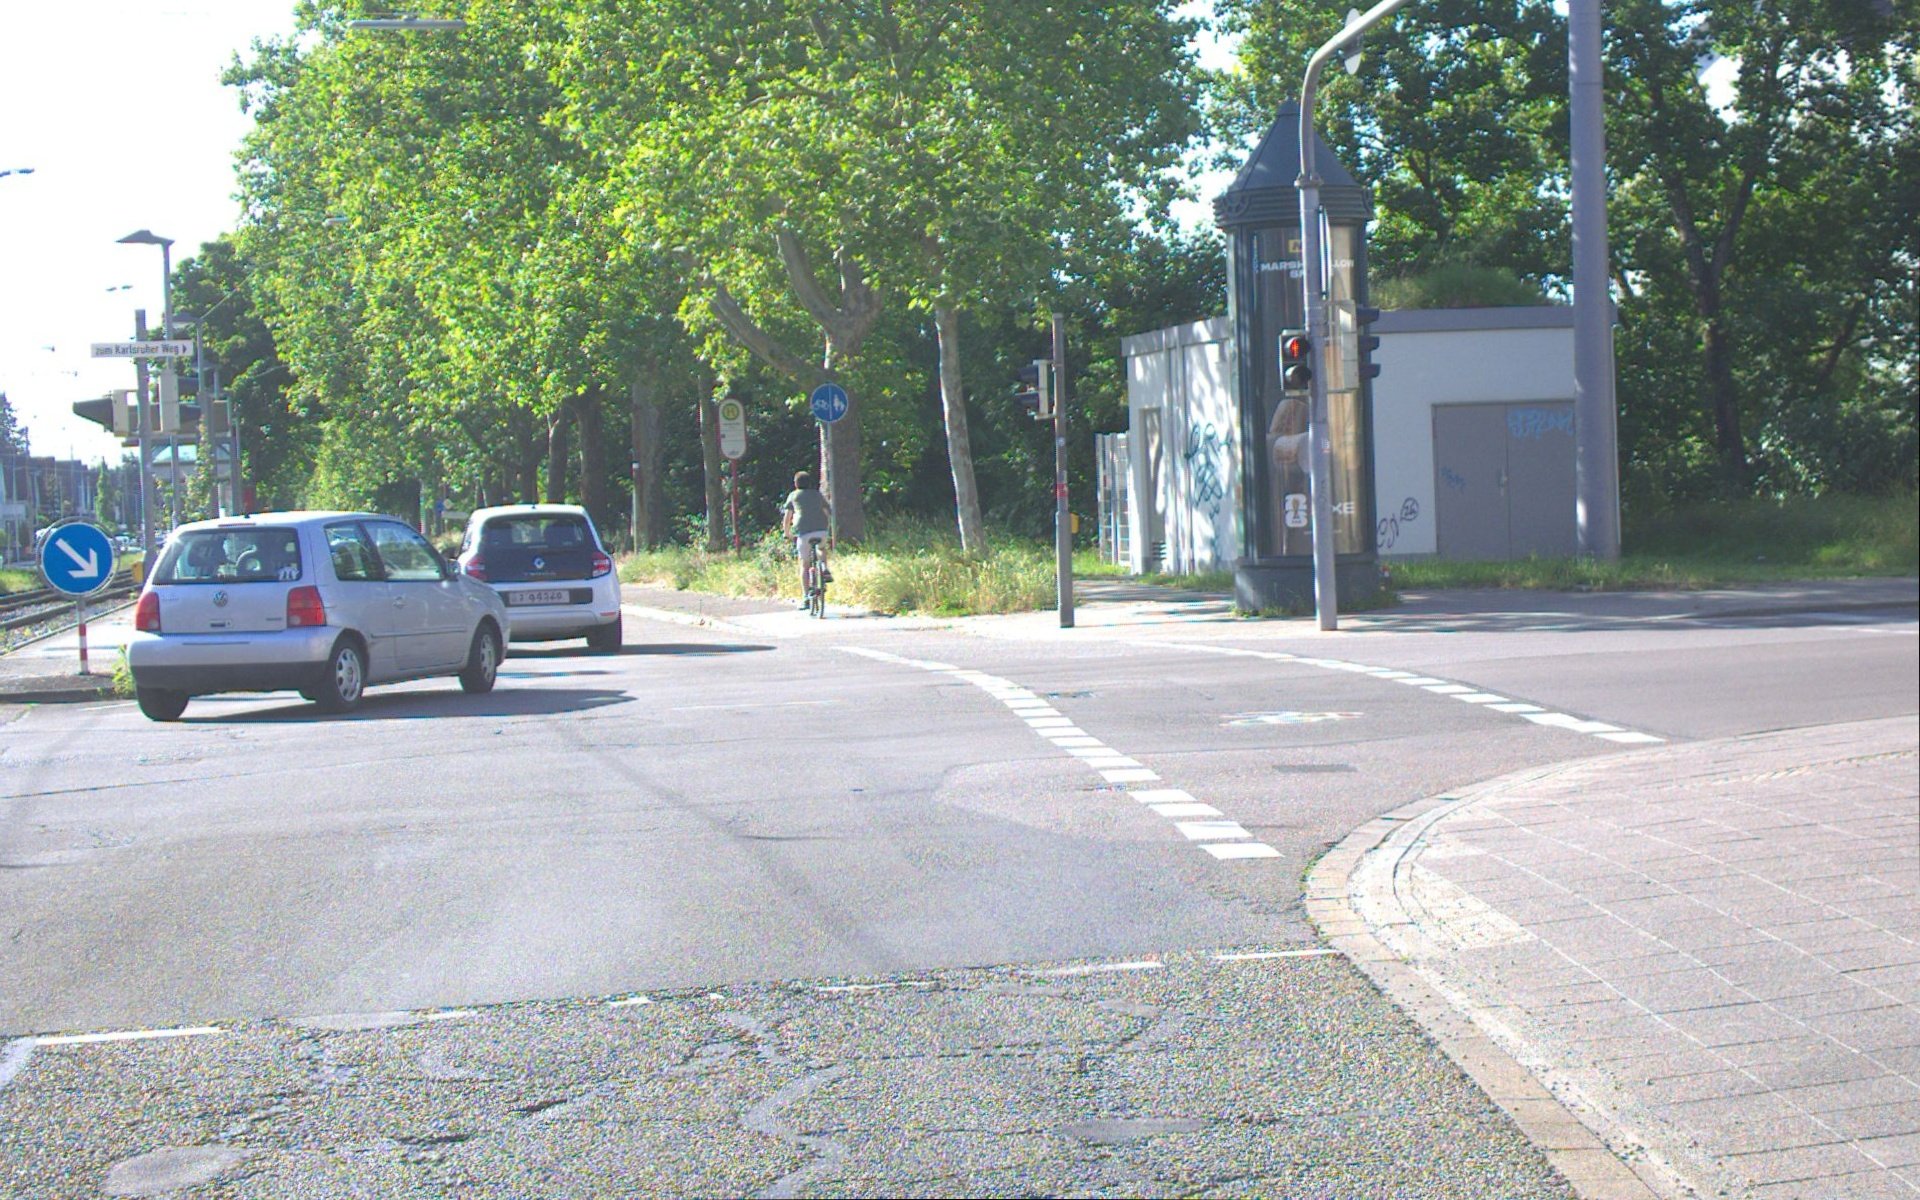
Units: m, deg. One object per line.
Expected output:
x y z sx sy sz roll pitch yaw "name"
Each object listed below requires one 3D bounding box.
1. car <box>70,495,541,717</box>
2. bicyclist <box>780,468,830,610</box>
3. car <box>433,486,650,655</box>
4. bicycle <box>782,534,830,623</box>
-4.719 0.000 25.298 1.869 1.481 3.552 -1 1 18 "car"
-1.957 -0.778 43.454 0.534 1.763 0.713 -2 2 -1 "bicyclist"
-4.430 -0.334 35.985 1.750 1.599 3.751 -3 2 -14 "car"
-1.935 -0.278 43.362 0.536 1.062 1.434 -2 2 -1 "bicycle"
